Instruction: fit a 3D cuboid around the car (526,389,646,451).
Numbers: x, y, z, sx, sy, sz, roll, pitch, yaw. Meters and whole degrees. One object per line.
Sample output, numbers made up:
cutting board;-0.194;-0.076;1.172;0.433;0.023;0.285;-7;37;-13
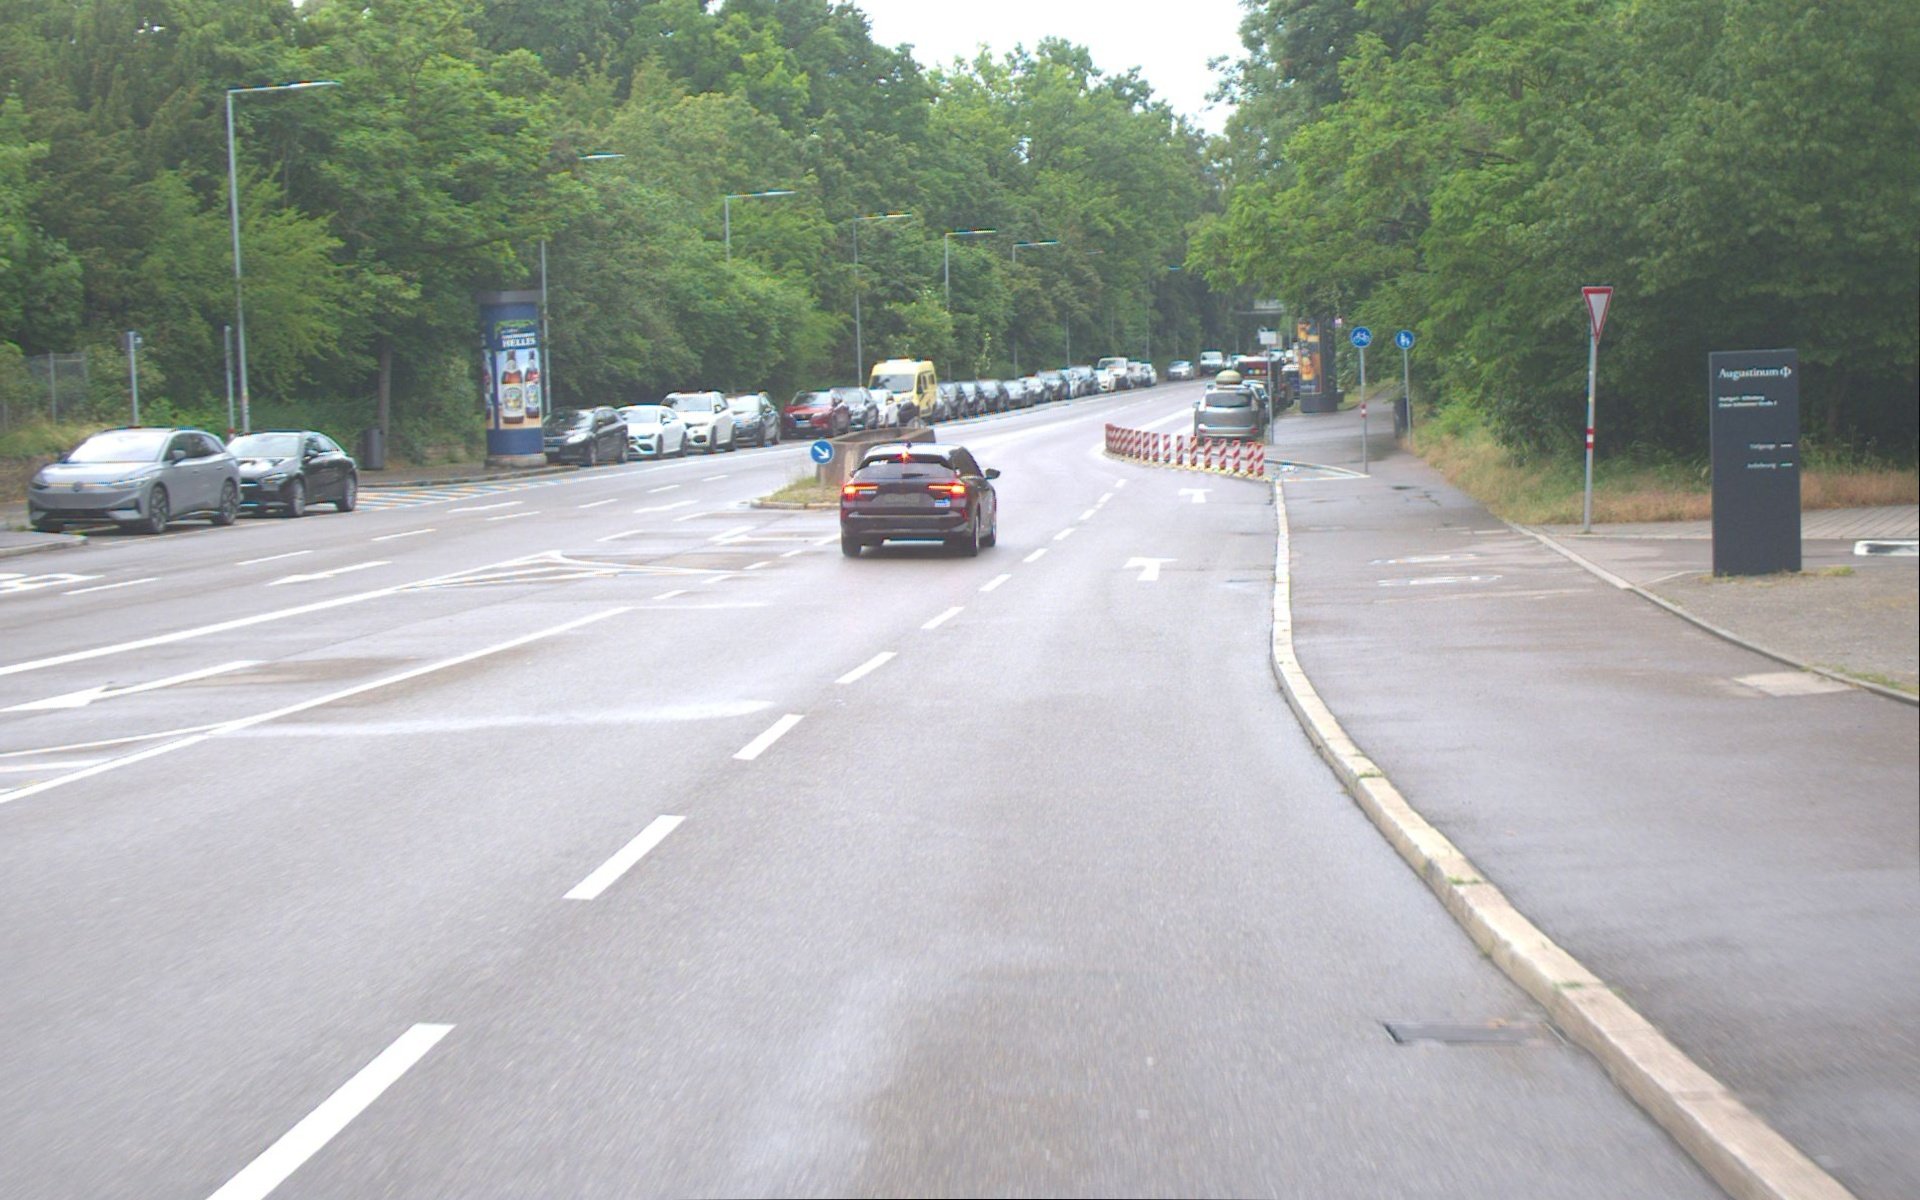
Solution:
car;-9.405;-4.563;86.832;1.750;1.440;4.586;0;4;11

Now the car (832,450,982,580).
car;-0.708;-1.157;45.398;1.880;1.460;4.001;1;5;-1

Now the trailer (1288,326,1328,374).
trailer;19.031;-13.667;187.872;2.132;2.551;4.297;-1;4;6

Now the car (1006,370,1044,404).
car;3.176;-10.363;167.449;1.461;1.565;2.984;-1;4;8

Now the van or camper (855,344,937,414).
van or camper;-2.467;-8.674;134.459;2.144;2.617;5.681;-1;4;9

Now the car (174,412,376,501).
car;-11.501;-2.456;58.053;1.907;1.409;4.782;1;3;7

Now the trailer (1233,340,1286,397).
trailer;12.392;-9.582;141.959;1.906;2.239;4.768;0;5;8

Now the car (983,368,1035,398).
car;2.288;-10.090;159.681;1.870;1.299;4.470;0;4;8

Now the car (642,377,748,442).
car;-7.555;-5.481;98.629;1.994;1.759;4.960;0;4;8

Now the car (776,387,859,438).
car;-4.853;-6.437;117.640;1.920;1.611;4.489;-1;4;9

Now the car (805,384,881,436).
car;-4.134;-6.776;122.436;1.994;1.694;4.615;-1;4;7

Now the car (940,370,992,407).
car;0.261;-9.246;150.417;1.603;1.504;3.976;-1;5;10

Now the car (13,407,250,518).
car;-12.475;-2.127;52.107;1.841;1.583;4.928;1;3;7

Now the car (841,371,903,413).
car;-3.247;-7.734;127.616;1.618;1.443;3.656;-2;4;9

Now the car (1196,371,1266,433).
car;7.346;-5.393;93.428;1.822;1.609;4.252;0;4;4

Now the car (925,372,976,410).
car;-0.402;-8.820;145.124;1.603;1.504;3.138;-1;5;10

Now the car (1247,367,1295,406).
car;12.215;-8.403;135.016;1.822;1.480;4.200;1;4;5

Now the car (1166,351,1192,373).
car;16.055;-17.463;252.147;1.673;1.508;3.630;0;5;8

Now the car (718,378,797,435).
car;-6.219;-5.972;105.948;1.731;1.643;4.571;0;4;5

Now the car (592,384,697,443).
car;-8.485;-5.058;92.872;1.719;1.455;4.708;-1;4;8
